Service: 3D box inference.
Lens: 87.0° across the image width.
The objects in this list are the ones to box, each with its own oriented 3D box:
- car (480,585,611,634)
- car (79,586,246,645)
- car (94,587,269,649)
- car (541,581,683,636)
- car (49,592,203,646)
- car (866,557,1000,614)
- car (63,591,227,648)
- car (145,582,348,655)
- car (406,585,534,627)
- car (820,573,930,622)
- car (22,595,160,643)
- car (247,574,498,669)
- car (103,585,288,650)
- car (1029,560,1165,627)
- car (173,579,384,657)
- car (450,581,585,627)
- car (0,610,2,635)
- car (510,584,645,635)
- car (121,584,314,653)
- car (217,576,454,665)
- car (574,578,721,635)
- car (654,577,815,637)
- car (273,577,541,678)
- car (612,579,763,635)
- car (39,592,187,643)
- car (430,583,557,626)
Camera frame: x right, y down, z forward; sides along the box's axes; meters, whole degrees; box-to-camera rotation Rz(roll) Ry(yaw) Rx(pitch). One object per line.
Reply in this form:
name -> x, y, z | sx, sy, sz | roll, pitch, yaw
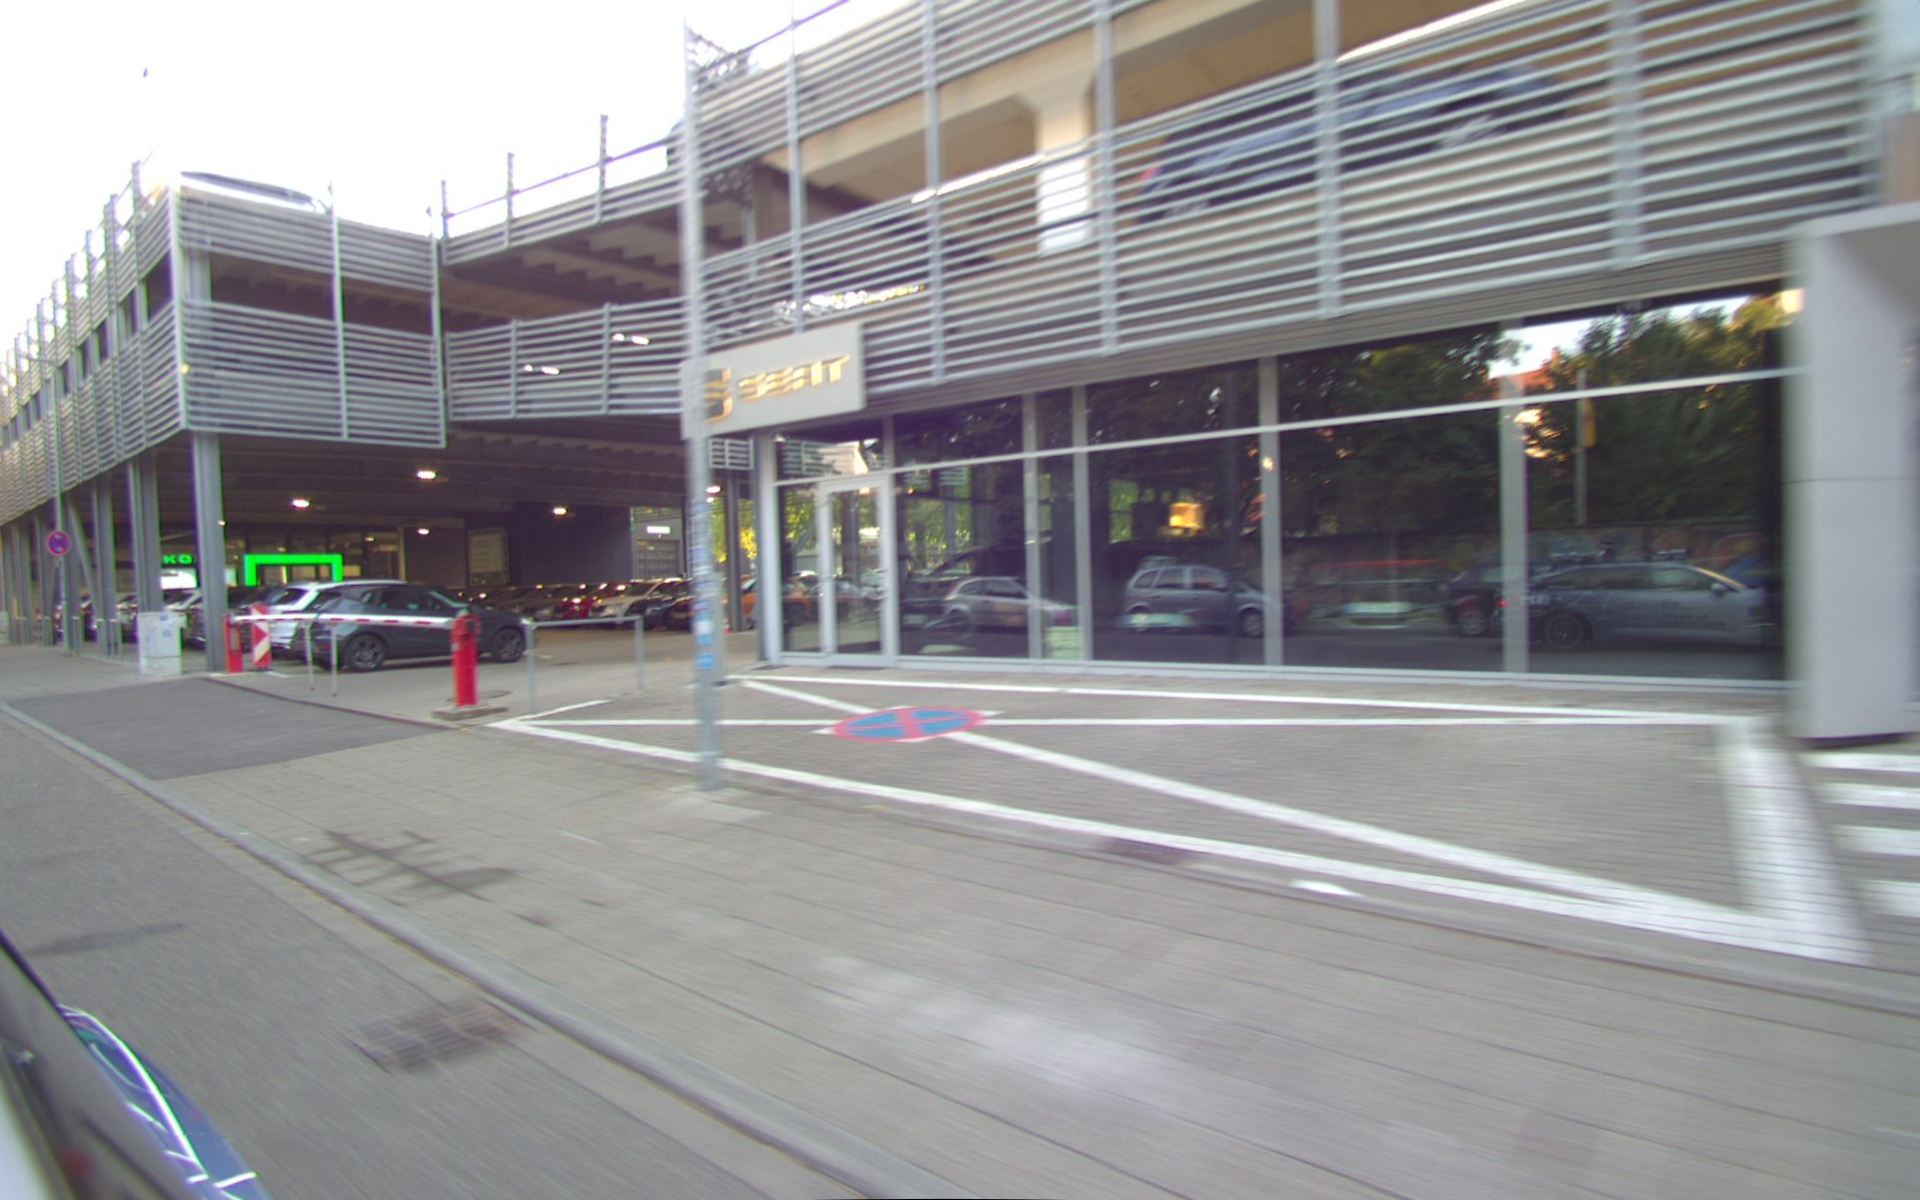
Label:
car -> -14.900, 0.332, 36.502 | 1.860, 1.570, 3.945 | -2, 1, 42
car -> -26.025, 0.484, 33.111 | 1.860, 1.696, 3.983 | -2, 1, 42
car -> -24.203, 0.521, 31.568 | 1.860, 1.696, 4.040 | -2, 1, 42
car -> -11.470, 0.250, 33.516 | 1.860, 1.608, 3.993 | -2, 1, 42
car -> -29.700, 0.660, 36.119 | 1.860, 1.696, 3.993 | -2, 1, 42
car -> -0.770, -0.474, 30.825 | 1.860, 1.565, 3.938 | -2, 1, 42
car -> -27.812, 0.641, 34.620 | 1.860, 1.696, 4.105 | -2, 1, 42
car -> -18.861, 0.446, 26.887 | 1.860, 1.696, 4.060 | -2, 1, 42
car -> -19.851, 0.211, 41.143 | 1.860, 1.498, 4.291 | -2, 1, 42
car -> -2.739, -0.093, 33.093 | 1.595, 1.436, 3.414 | -1, 2, 41
car -> -35.187, 0.755, 41.033 | 1.860, 1.696, 4.000 | -2, 1, 42
car -> -11.924, 0.378, 20.725 | 1.860, 1.696, 4.037 | -2, 1, 42
car -> -22.595, 0.492, 30.018 | 1.860, 1.696, 4.060 | -2, 1, 42
car -> 3.600, -0.207, 26.190 | 1.784, 1.484, 3.794 | -5, -1, 37
car -> -16.981, 0.409, 25.355 | 1.860, 1.696, 4.021 | -2, 1, 42
car -> -16.457, 0.137, 37.780 | 1.860, 1.531, 4.161 | -2, 1, 42
car -> -61.937, 1.480, 63.991 | 3.874, 1.534, 1.576 | -2, 1, 41
car -> -13.200, 0.303, 35.053 | 1.860, 1.570, 3.945 | -2, 1, 42
car -> -20.797, 0.472, 28.465 | 1.860, 1.696, 4.060 | -2, 1, 42
car -> -13.661, 0.402, 22.304 | 1.860, 1.696, 4.044 | -2, 1, 42
car -> -9.783, 0.177, 31.895 | 1.860, 1.591, 4.025 | -2, 1, 42
car -> -6.393, 0.161, 28.976 | 1.830, 1.506, 4.185 | -2, 1, 42
car -> -10.135, 0.407, 18.778 | 1.858, 1.597, 3.948 | 1, 3, 39
car -> -8.126, 0.186, 30.435 | 1.860, 1.506, 4.009 | -2, 1, 42
car -> -31.652, 0.625, 37.899 | 1.860, 1.696, 3.993 | -2, 1, 42
car -> -17.963, 0.161, 39.089 | 1.860, 1.466, 4.031 | -2, 1, 42
